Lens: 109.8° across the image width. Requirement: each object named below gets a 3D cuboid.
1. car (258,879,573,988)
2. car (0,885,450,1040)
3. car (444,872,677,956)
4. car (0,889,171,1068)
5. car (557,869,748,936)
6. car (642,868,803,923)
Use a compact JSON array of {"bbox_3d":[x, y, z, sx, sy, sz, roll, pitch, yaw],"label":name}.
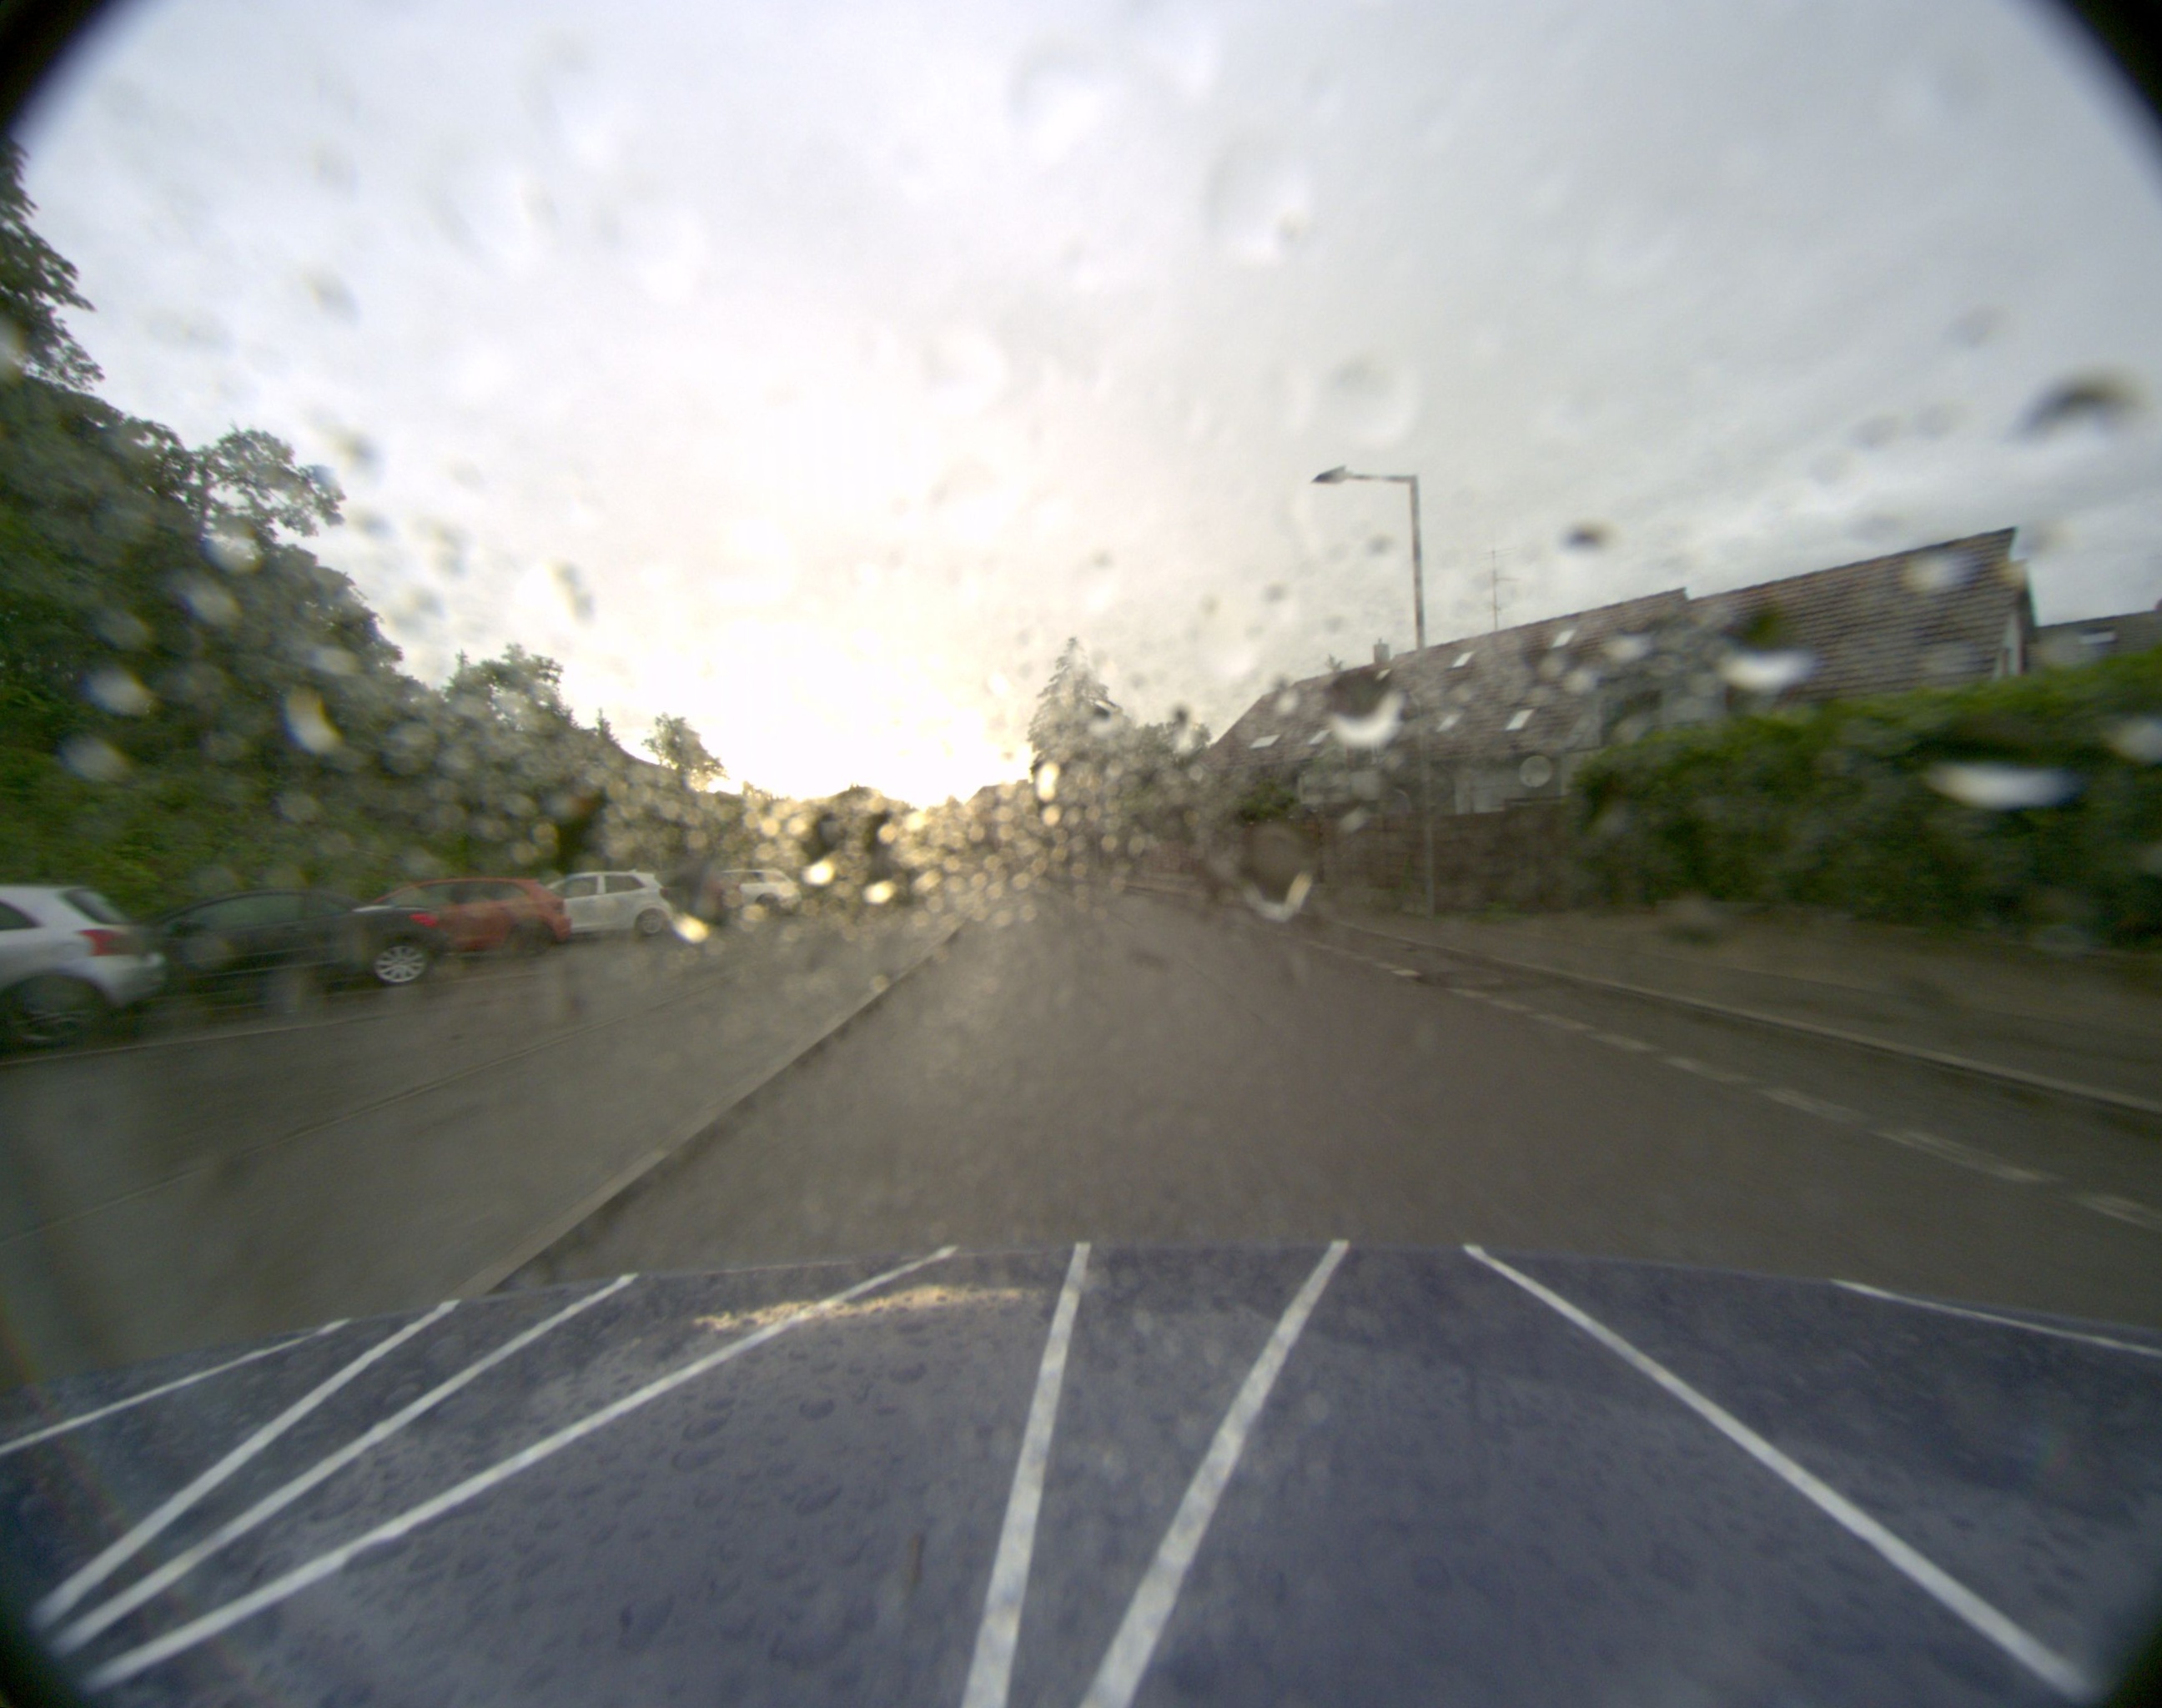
[{"bbox_3d":[-11.101,1.216,12.954,3.802,1.393,1.713,-2,1,-43],"label":"car"},{"bbox_3d":[-10.677,1.211,9.723,3.850,1.393,1.713,-2,1,-44],"label":"car"},{"bbox_3d":[-11.094,1.187,16.377,1.747,1.471,3.803,-1,0,43],"label":"car"},{"bbox_3d":[-10.782,1.164,6.320,3.920,1.478,1.614,-2,1,-44],"label":"car"},{"bbox_3d":[-11.282,1.202,20.173,4.099,1.498,1.747,-1,0,-41],"label":"car"},{"bbox_3d":[-11.132,1.219,23.681,4.322,1.455,1.808,-1,0,-33],"label":"car"}]
